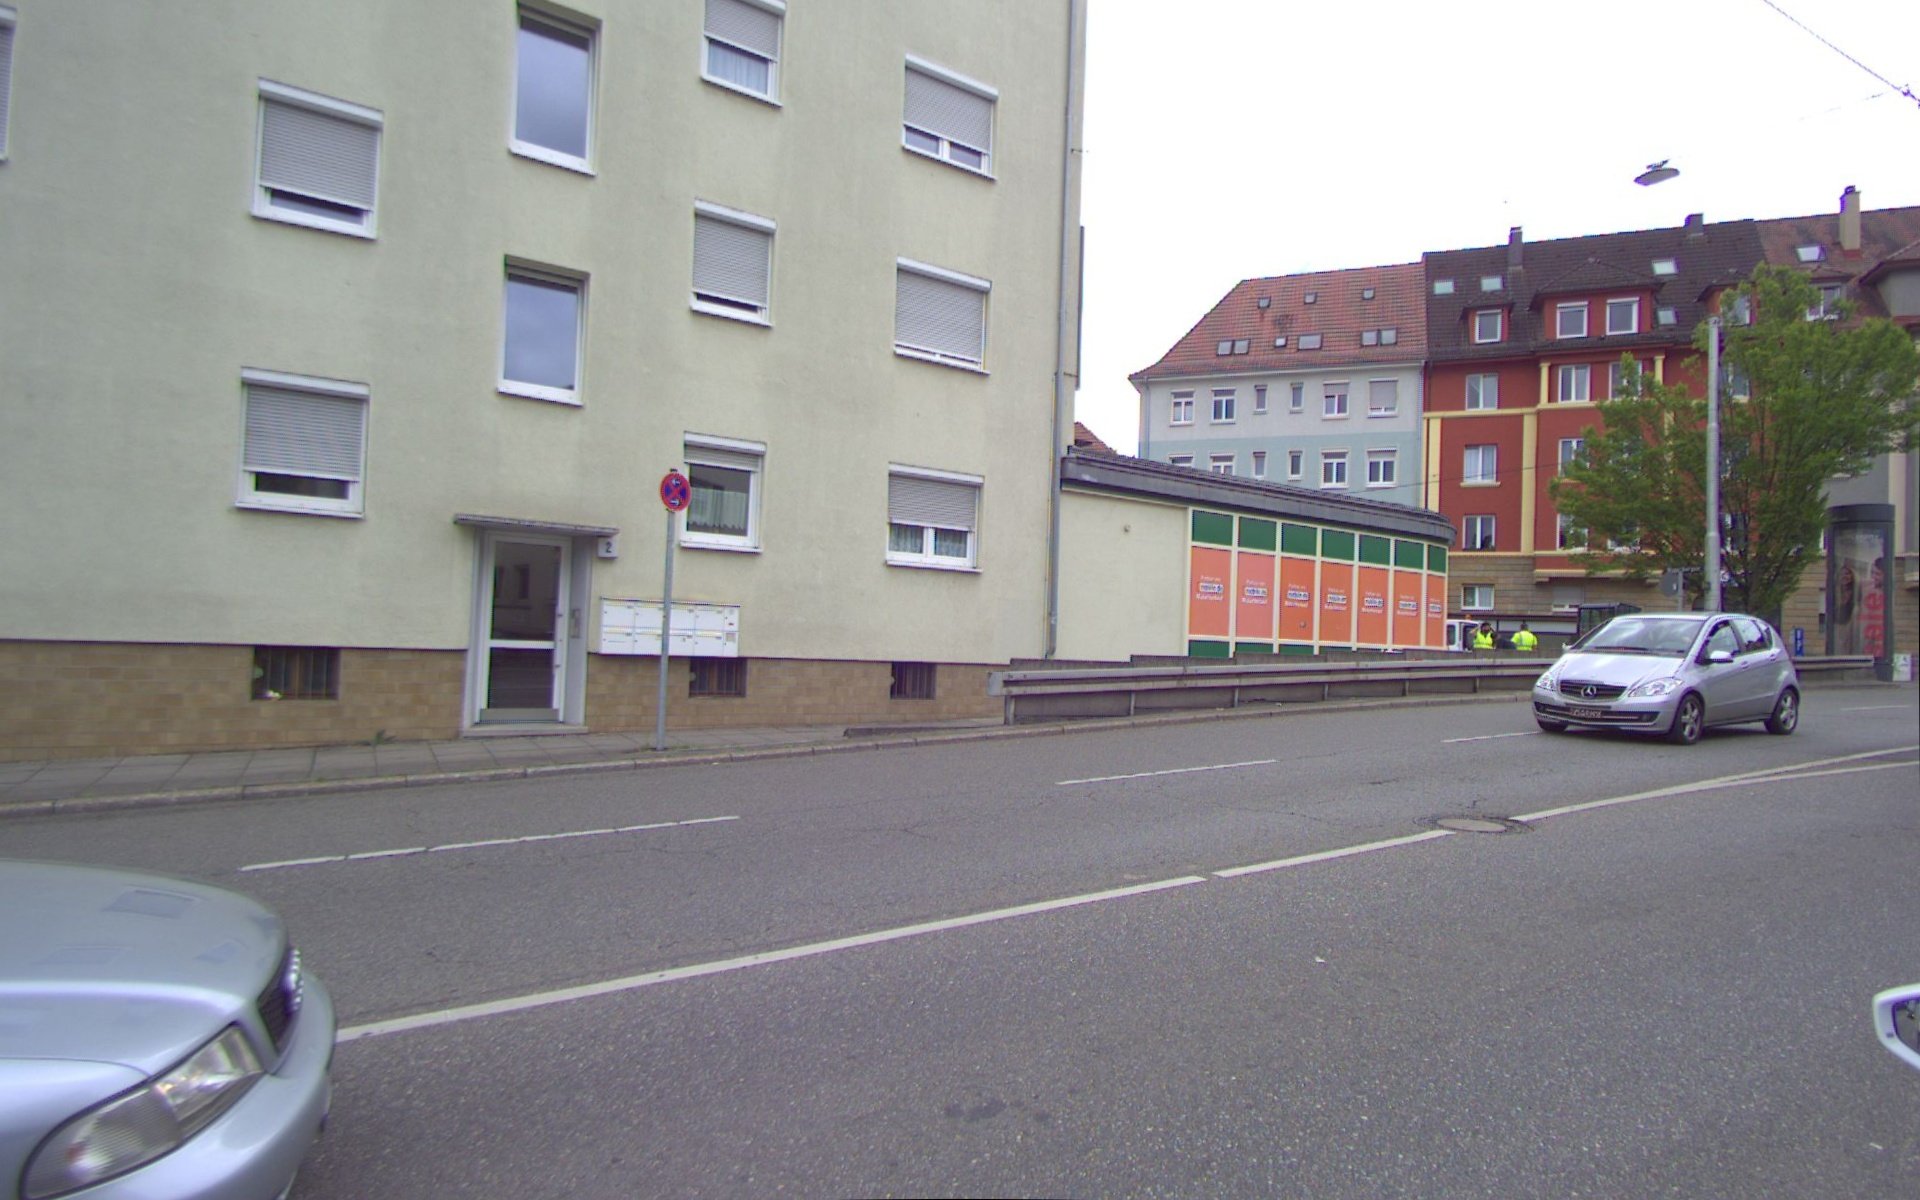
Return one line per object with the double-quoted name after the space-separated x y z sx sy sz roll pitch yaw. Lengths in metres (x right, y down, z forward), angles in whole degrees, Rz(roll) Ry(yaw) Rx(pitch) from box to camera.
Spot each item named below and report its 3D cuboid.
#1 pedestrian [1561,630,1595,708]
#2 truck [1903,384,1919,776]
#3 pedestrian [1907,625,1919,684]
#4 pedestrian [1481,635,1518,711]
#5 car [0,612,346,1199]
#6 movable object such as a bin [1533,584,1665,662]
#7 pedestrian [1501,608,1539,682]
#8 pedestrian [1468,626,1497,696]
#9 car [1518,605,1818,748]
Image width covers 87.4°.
14.364 1.585 23.356 0.533 1.753 0.593 3 1 26 "pedestrian"
13.005 -0.133 9.645 7.948 3.623 2.763 1 0 -23 "truck"
26.059 1.483 27.091 0.480 1.588 0.586 2 1 -30 "pedestrian"
12.666 1.705 23.595 0.539 1.722 0.557 1 1 -41 "pedestrian"
-3.211 0.720 1.280 4.132 1.391 1.686 0 0 -33 "car"
16.377 0.575 25.667 3.972 1.795 1.884 2 1 -43 "movable object such as a bin"
13.879 1.116 24.890 0.613 1.785 0.566 1 1 -40 "pedestrian"
13.464 1.561 25.896 0.467 1.753 0.543 2 1 14 "pedestrian"
9.425 0.939 13.321 3.951 1.639 1.701 2 -1 -29 "car"
